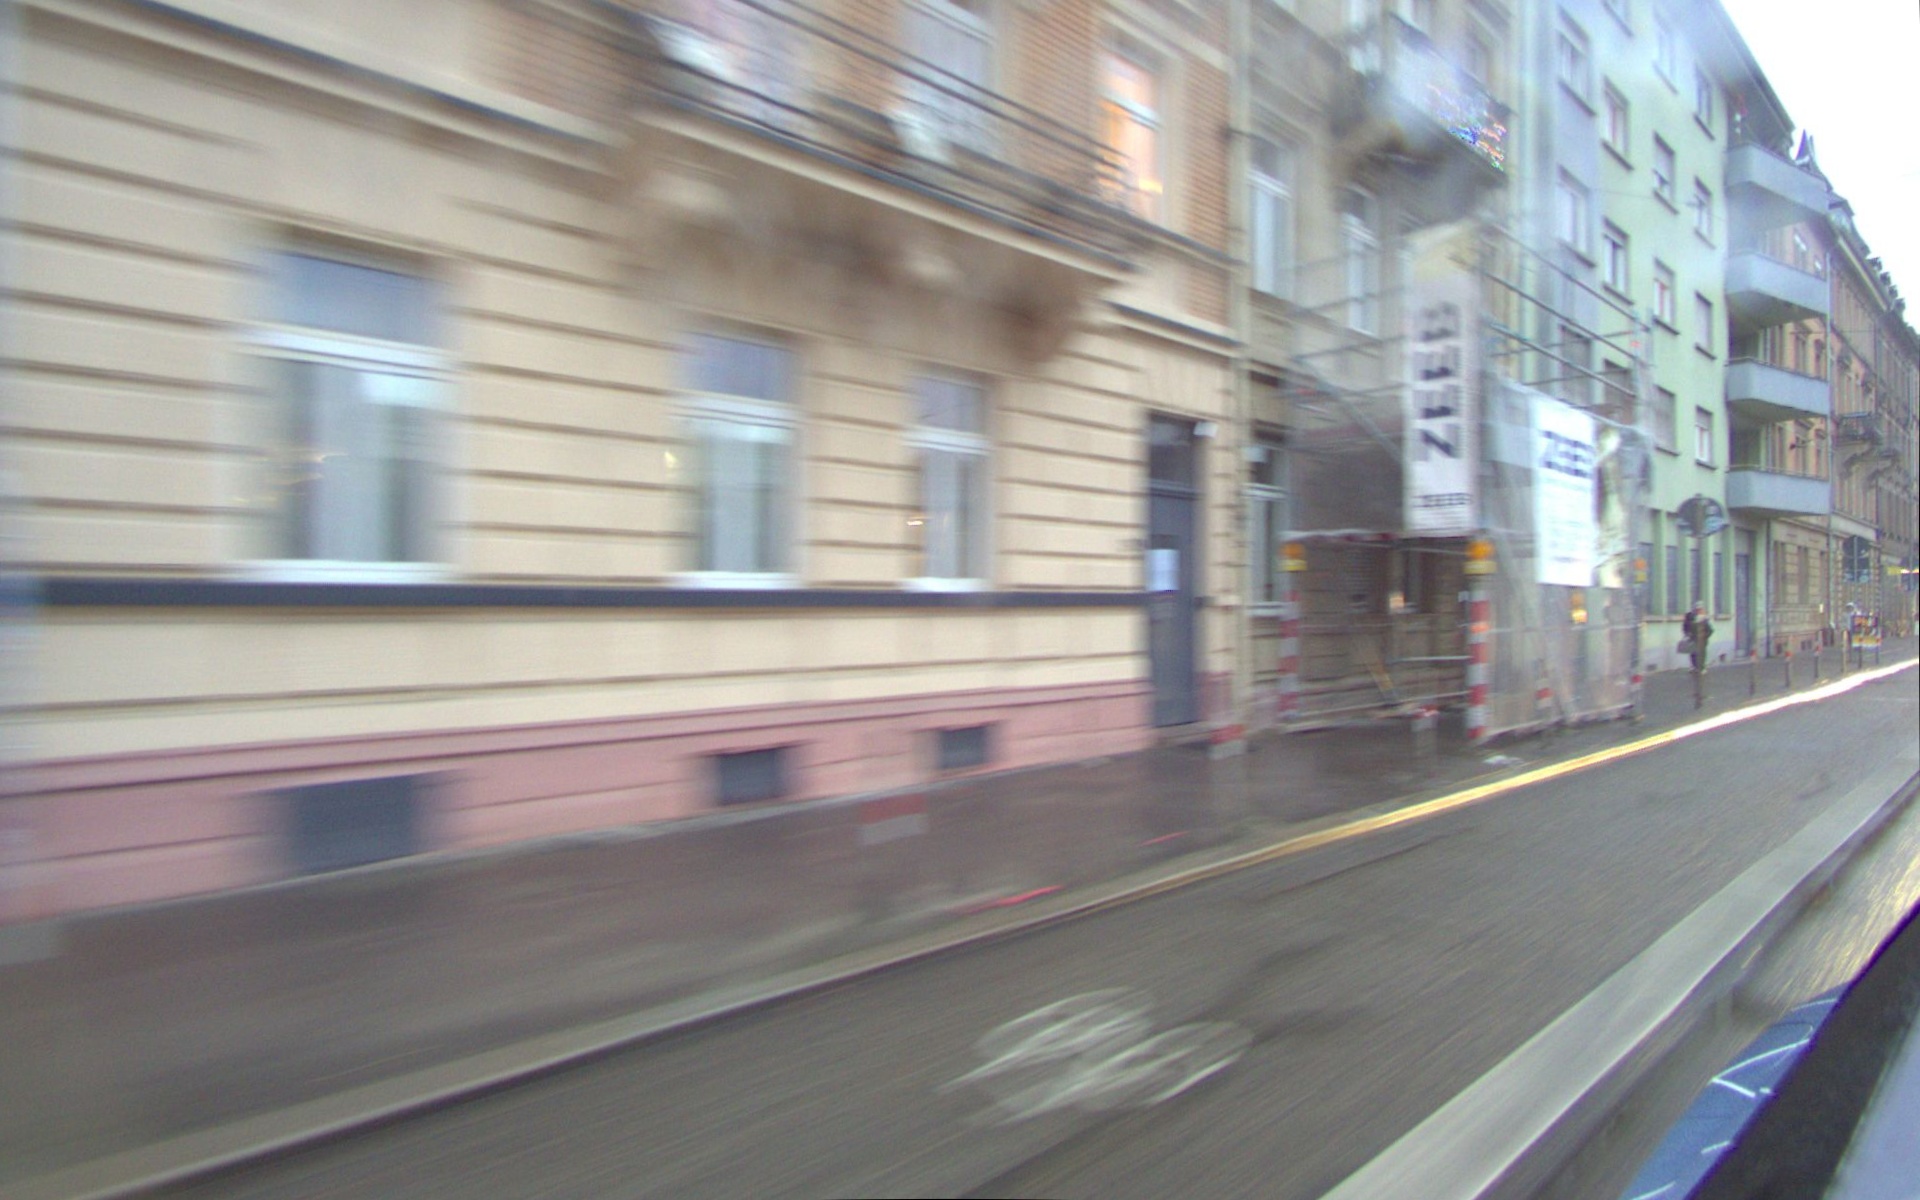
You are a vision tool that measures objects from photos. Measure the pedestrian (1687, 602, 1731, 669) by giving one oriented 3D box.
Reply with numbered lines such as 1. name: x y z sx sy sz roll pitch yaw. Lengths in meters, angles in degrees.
1. pedestrian: 16.134 0.751 21.804 0.716 1.394 0.601 0 -1 -41

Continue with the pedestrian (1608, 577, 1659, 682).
1. pedestrian: 12.114 0.520 18.227 0.593 1.841 0.770 -1 -1 22

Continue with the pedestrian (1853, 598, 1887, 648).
1. pedestrian: 30.404 0.758 33.815 0.729 1.617 0.787 1 0 -42
